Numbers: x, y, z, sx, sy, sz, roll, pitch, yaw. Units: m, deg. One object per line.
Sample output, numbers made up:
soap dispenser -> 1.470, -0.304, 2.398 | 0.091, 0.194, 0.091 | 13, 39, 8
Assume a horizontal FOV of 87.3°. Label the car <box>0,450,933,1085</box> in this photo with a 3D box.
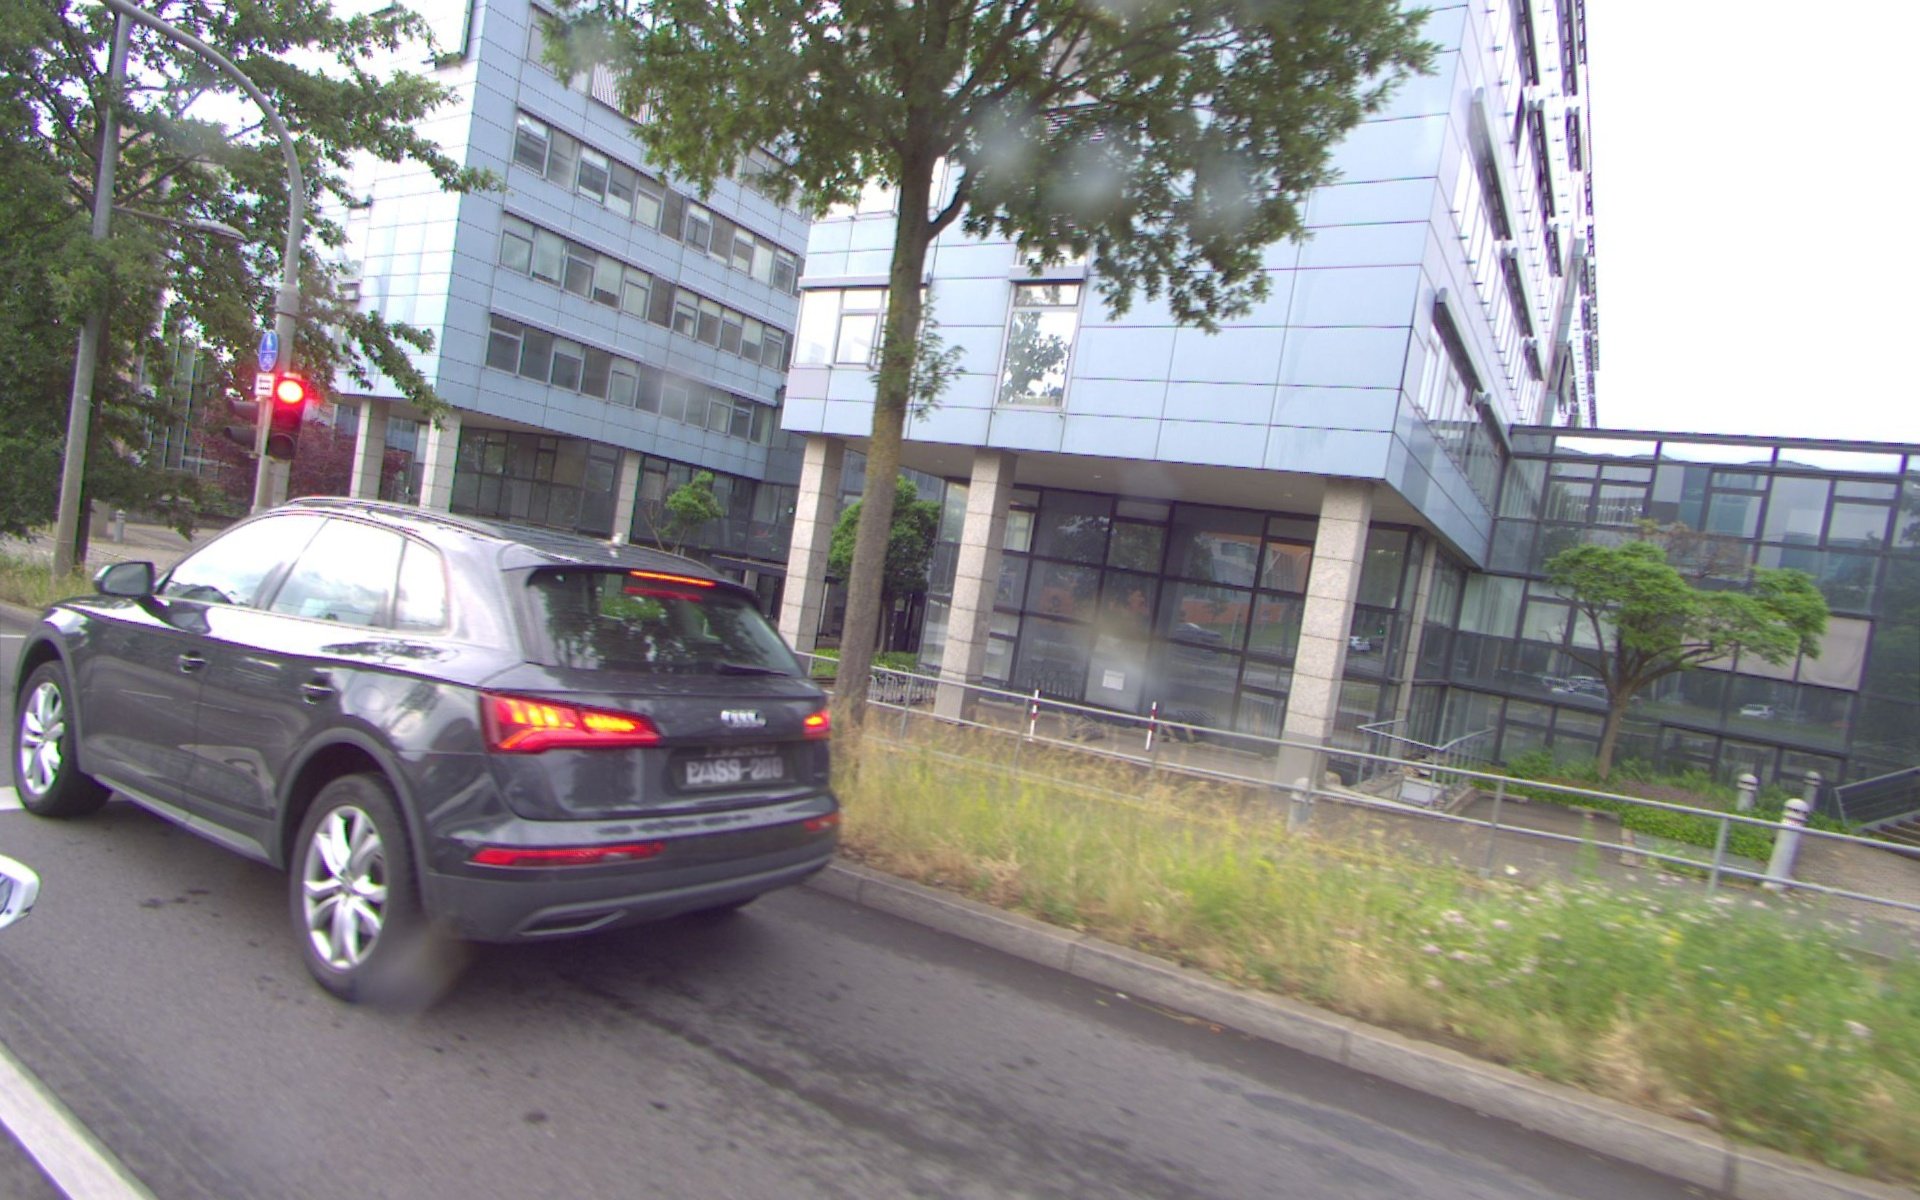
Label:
car -> -2.536, 0.367, 4.698 | 4.396, 1.632, 1.821 | 7, 0, 32
